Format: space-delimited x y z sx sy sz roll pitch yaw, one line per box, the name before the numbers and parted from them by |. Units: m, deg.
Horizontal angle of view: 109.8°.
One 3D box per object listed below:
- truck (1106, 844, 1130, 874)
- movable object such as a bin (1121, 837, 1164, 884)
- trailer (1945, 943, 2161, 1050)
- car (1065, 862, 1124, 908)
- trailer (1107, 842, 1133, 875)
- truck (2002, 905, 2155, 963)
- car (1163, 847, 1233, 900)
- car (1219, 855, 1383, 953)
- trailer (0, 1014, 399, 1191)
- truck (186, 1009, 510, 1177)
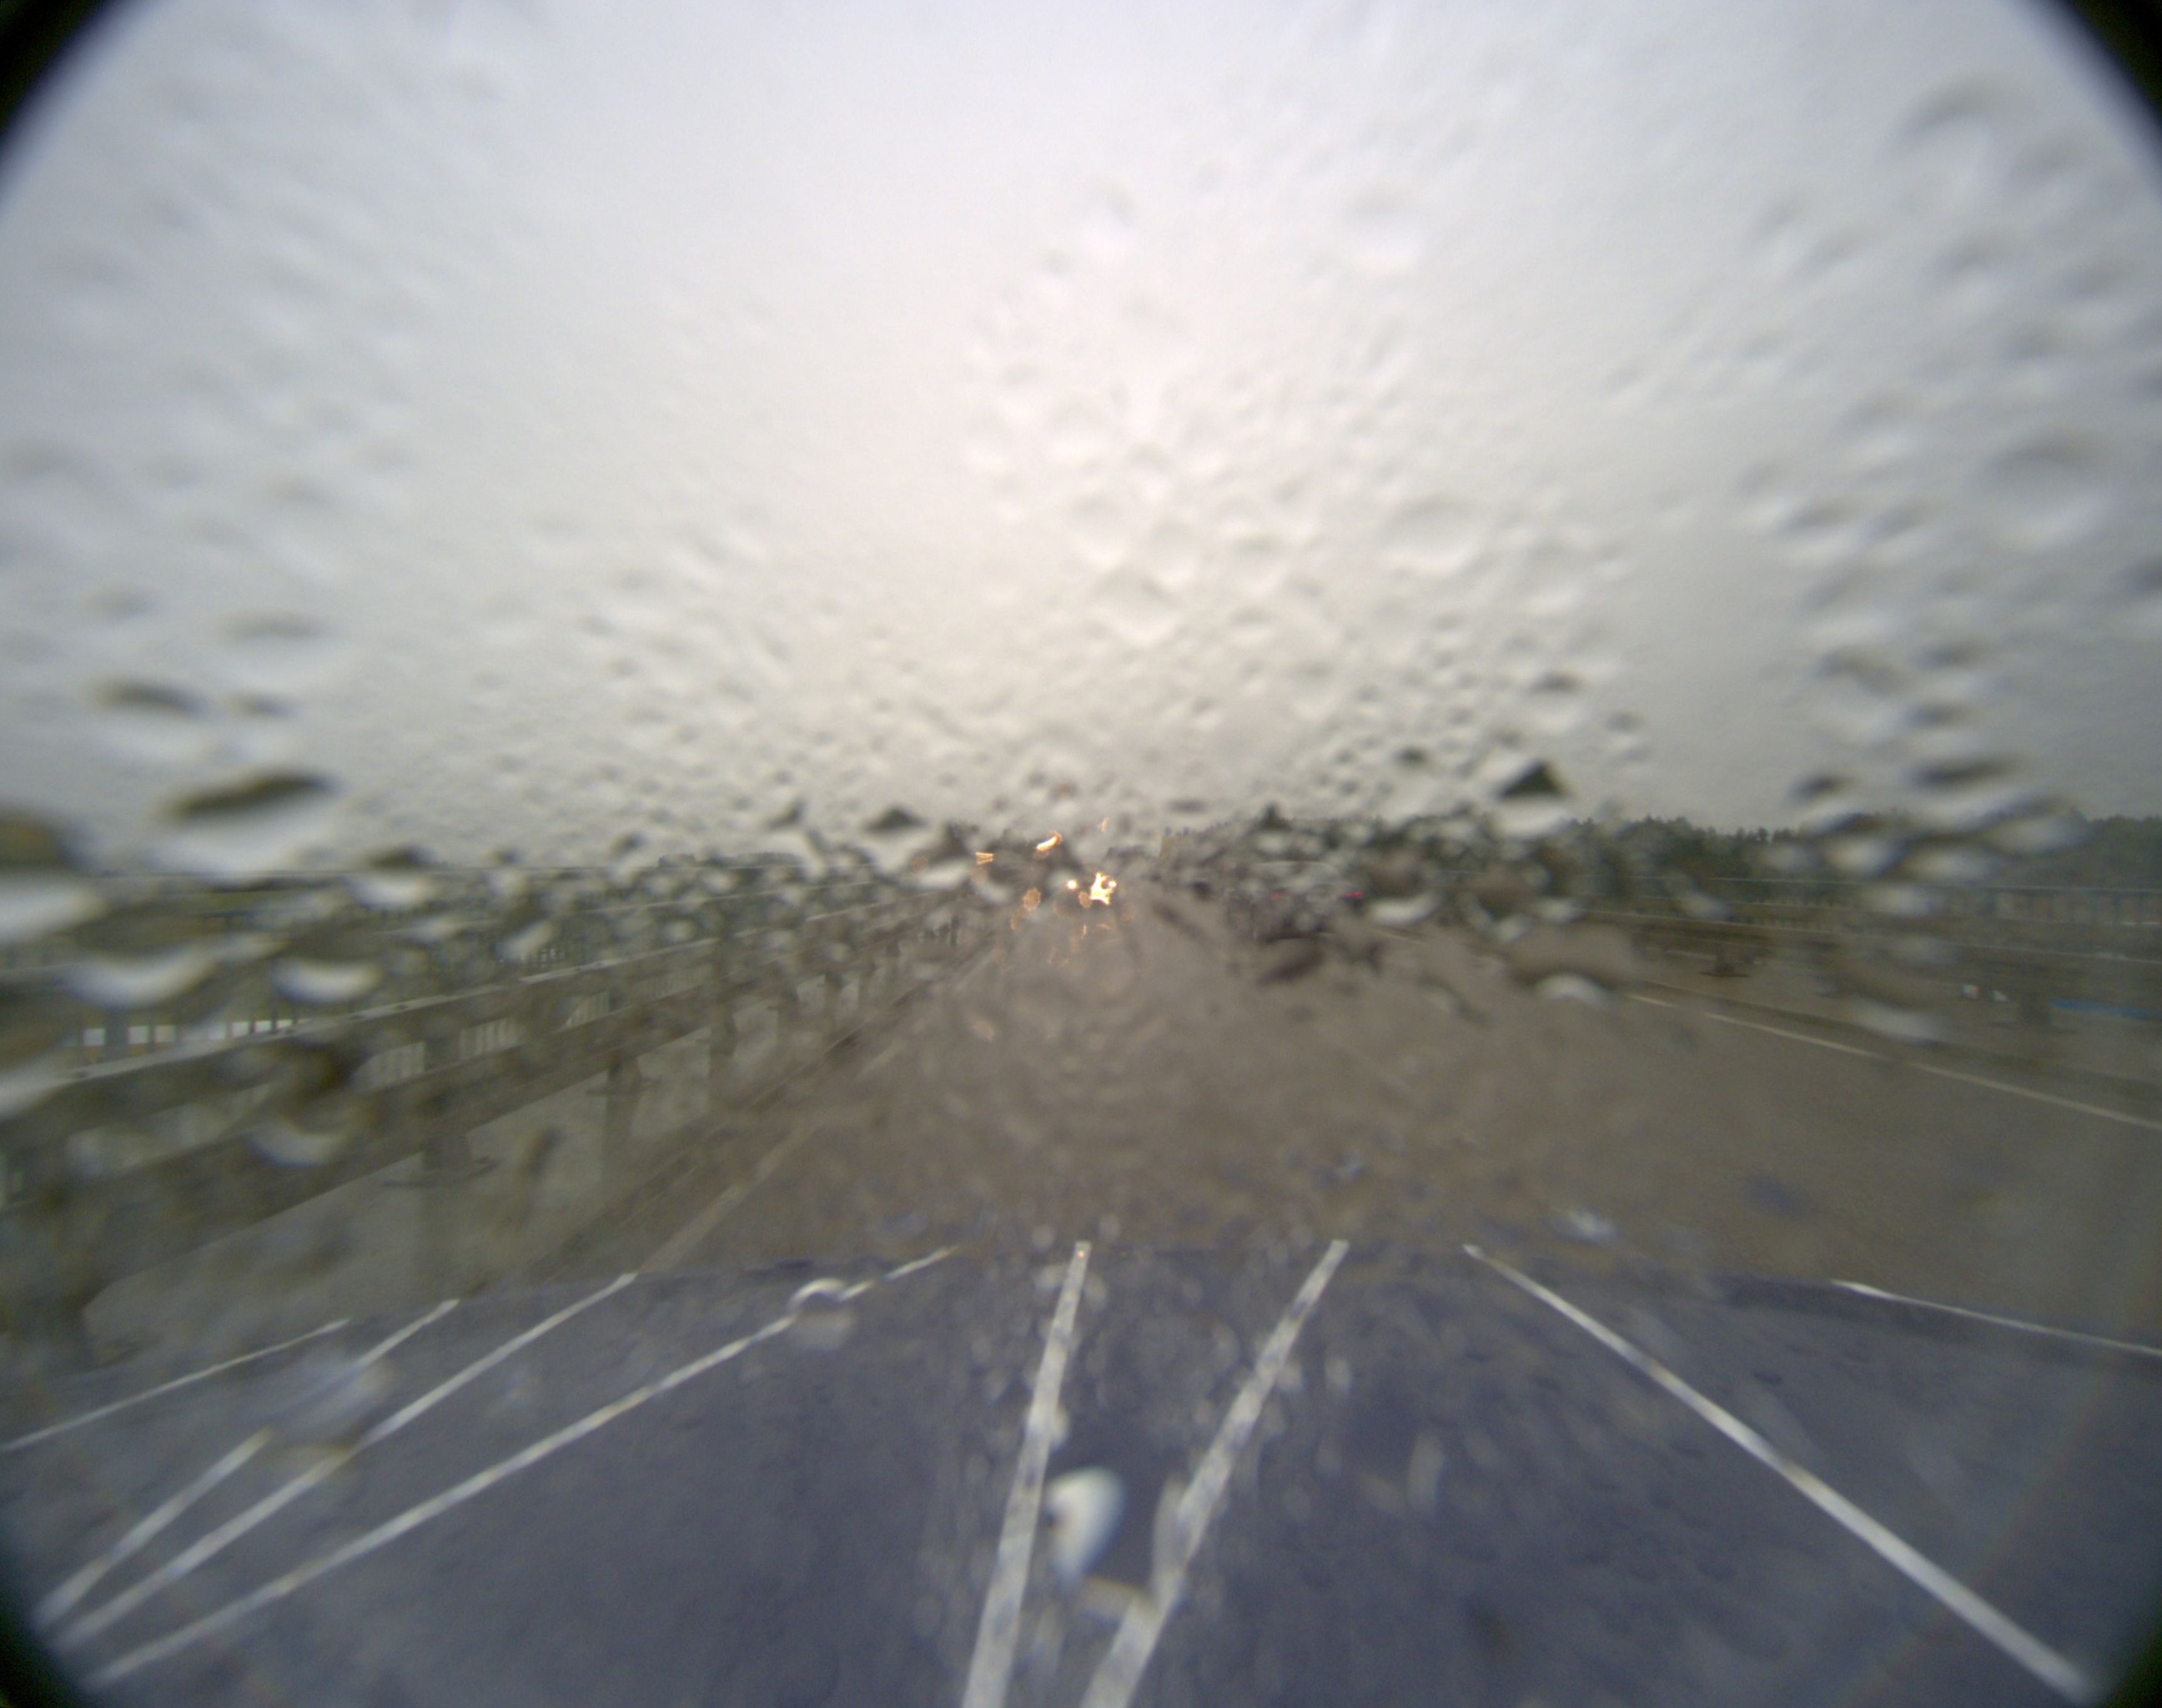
truck | 5.082 0.716 106.111 2.825 3.946 8.764 -1 -1 0
movable object such as a bin | 4.620 0.487 58.142 2.756 3.425 4.642 0 0 -2
trailer | 50.285 6.883 37.785 14.372 4.193 2.879 0 -1 -12
car | 0.471 1.005 26.124 1.819 1.382 4.069 -2 0 1
trailer | 5.051 0.654 100.575 2.825 3.946 13.737 -1 -1 0
truck | 76.723 6.080 58.489 9.850 3.677 2.239 -3 -1 -6
car | 4.346 0.699 28.917 2.071 1.826 4.932 0 0 2
car | 3.812 0.801 13.947 1.843 1.528 4.069 0 0 0
trailer | -29.248 7.303 22.430 14.027 3.944 2.879 0 -1 -11
truck | -22.515 7.255 23.803 6.822 3.944 2.879 0 -1 -11
